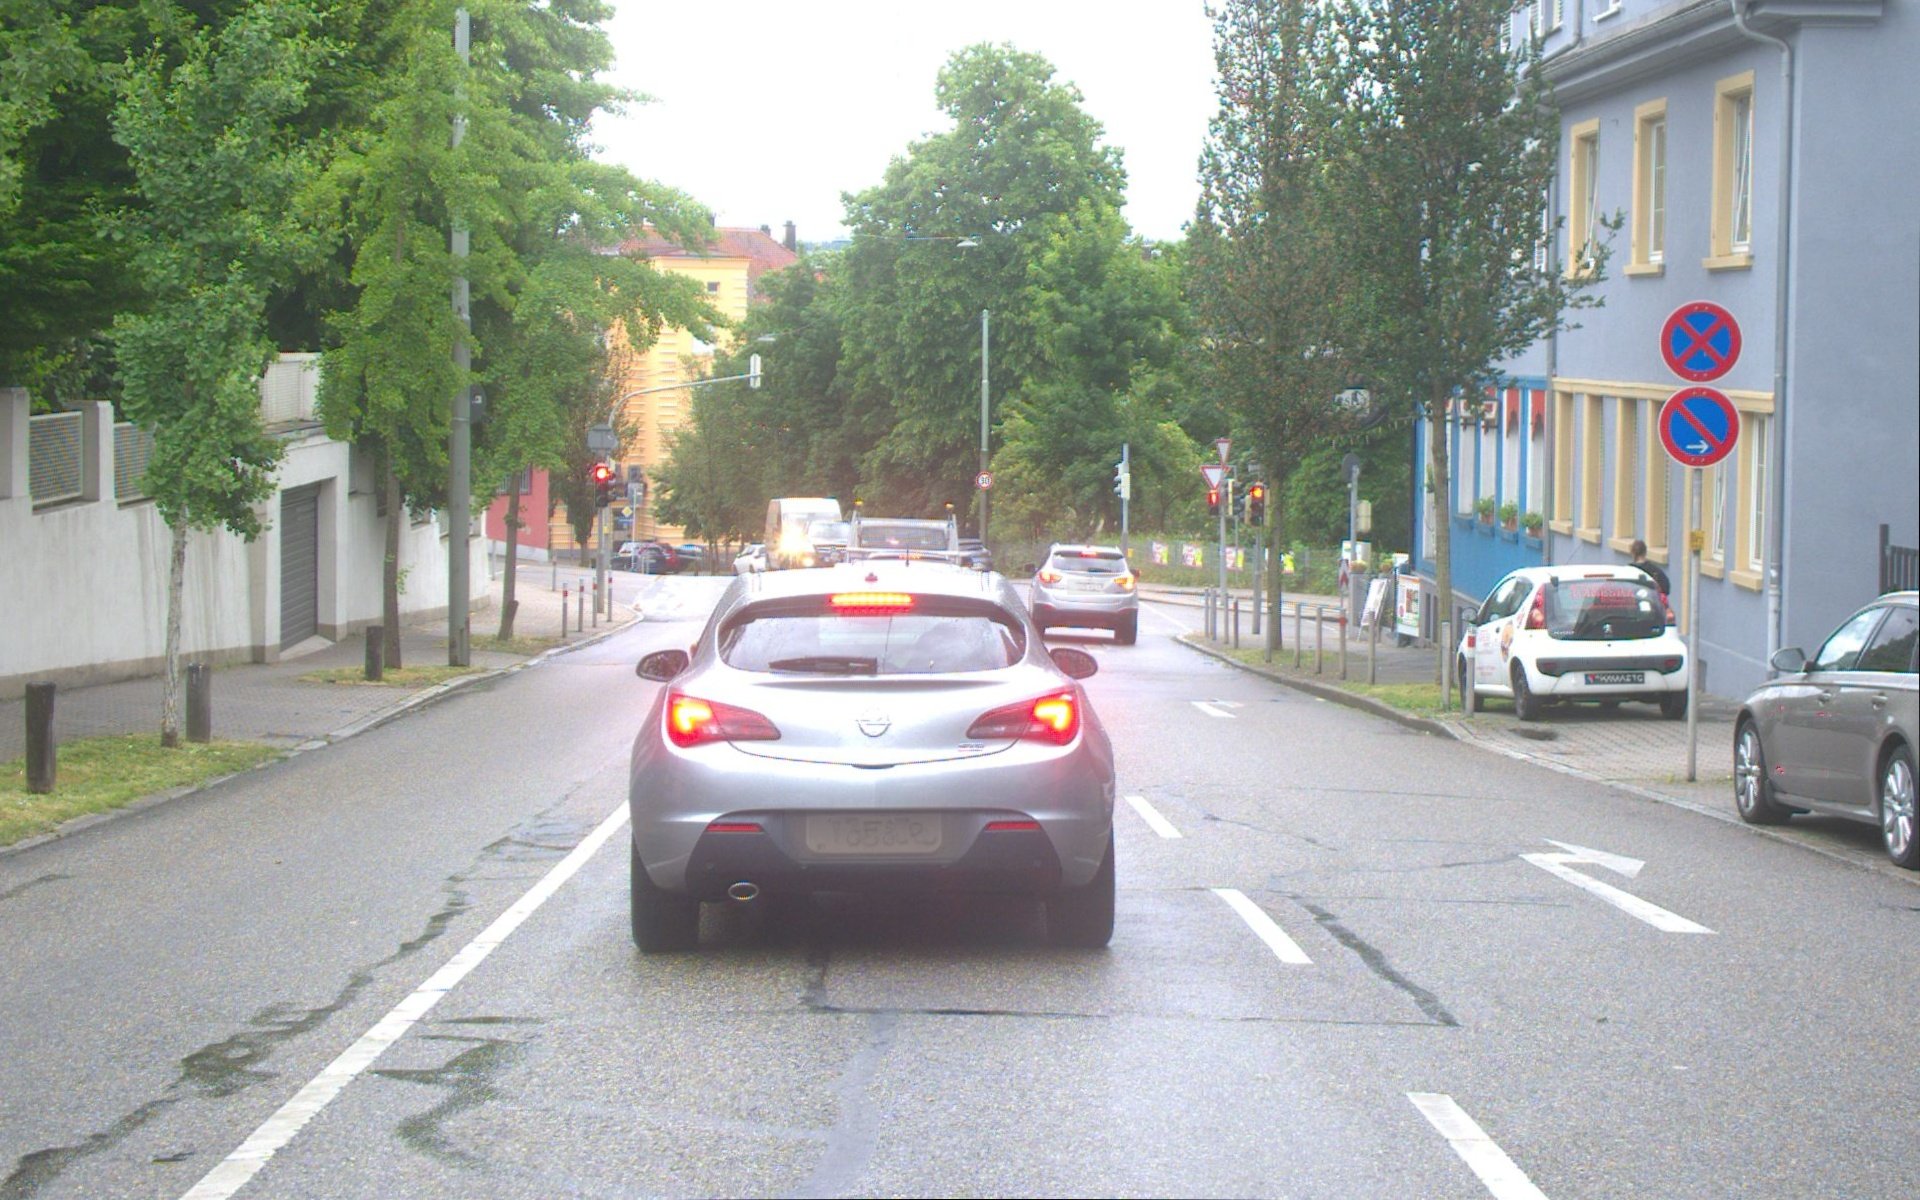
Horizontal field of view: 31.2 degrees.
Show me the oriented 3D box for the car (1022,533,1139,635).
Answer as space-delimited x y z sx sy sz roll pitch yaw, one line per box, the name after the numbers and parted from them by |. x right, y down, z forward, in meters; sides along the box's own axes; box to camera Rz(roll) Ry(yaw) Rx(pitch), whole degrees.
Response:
2.089 -0.298 60.401 1.722 1.708 3.880 -1 1 -3 | car

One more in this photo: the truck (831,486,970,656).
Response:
-0.950 -0.467 52.360 1.962 2.421 4.936 1 1 -2 | truck

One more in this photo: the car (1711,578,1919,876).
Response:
5.743 0.632 19.100 1.962 1.443 4.527 0 1 -3 | car

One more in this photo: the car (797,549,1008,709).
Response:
-0.612 0.242 34.705 1.962 1.443 4.306 1 1 -2 | car

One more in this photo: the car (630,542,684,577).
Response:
-14.409 -1.909 163.345 1.722 1.632 3.881 -1 1 -18 | car

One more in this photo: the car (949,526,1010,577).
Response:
0.636 -1.608 114.172 1.722 1.632 3.880 -1 1 -4 | car

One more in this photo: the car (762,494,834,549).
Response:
-4.987 -2.403 105.492 1.722 1.632 3.881 -1 1 -9 | car

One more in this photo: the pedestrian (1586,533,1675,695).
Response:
7.262 0.144 37.253 0.783 1.723 0.651 1 1 -1 | pedestrian

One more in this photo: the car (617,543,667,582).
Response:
-13.908 -1.634 150.181 1.722 1.632 3.881 1 0 -12 | car

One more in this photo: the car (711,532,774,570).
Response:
-9.160 -2.064 144.588 1.722 1.538 3.881 -1 1 -18 | car

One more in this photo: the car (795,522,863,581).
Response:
-3.720 -1.382 97.868 1.870 1.632 3.880 -1 1 -2 | car

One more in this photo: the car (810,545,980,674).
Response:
-0.829 0.079 42.364 1.962 1.443 4.306 1 1 -2 | car

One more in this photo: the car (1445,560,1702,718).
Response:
5.992 0.342 33.981 1.722 1.443 3.880 -1 1 -2 | car

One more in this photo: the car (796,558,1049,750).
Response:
-0.367 0.403 29.326 1.962 1.443 4.306 1 1 -2 | car

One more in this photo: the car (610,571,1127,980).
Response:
-0.411 0.610 14.183 1.837 1.429 3.880 0 1 -3 | car

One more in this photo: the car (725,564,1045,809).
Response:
-0.539 0.519 23.604 1.962 1.443 4.306 1 1 -2 | car
